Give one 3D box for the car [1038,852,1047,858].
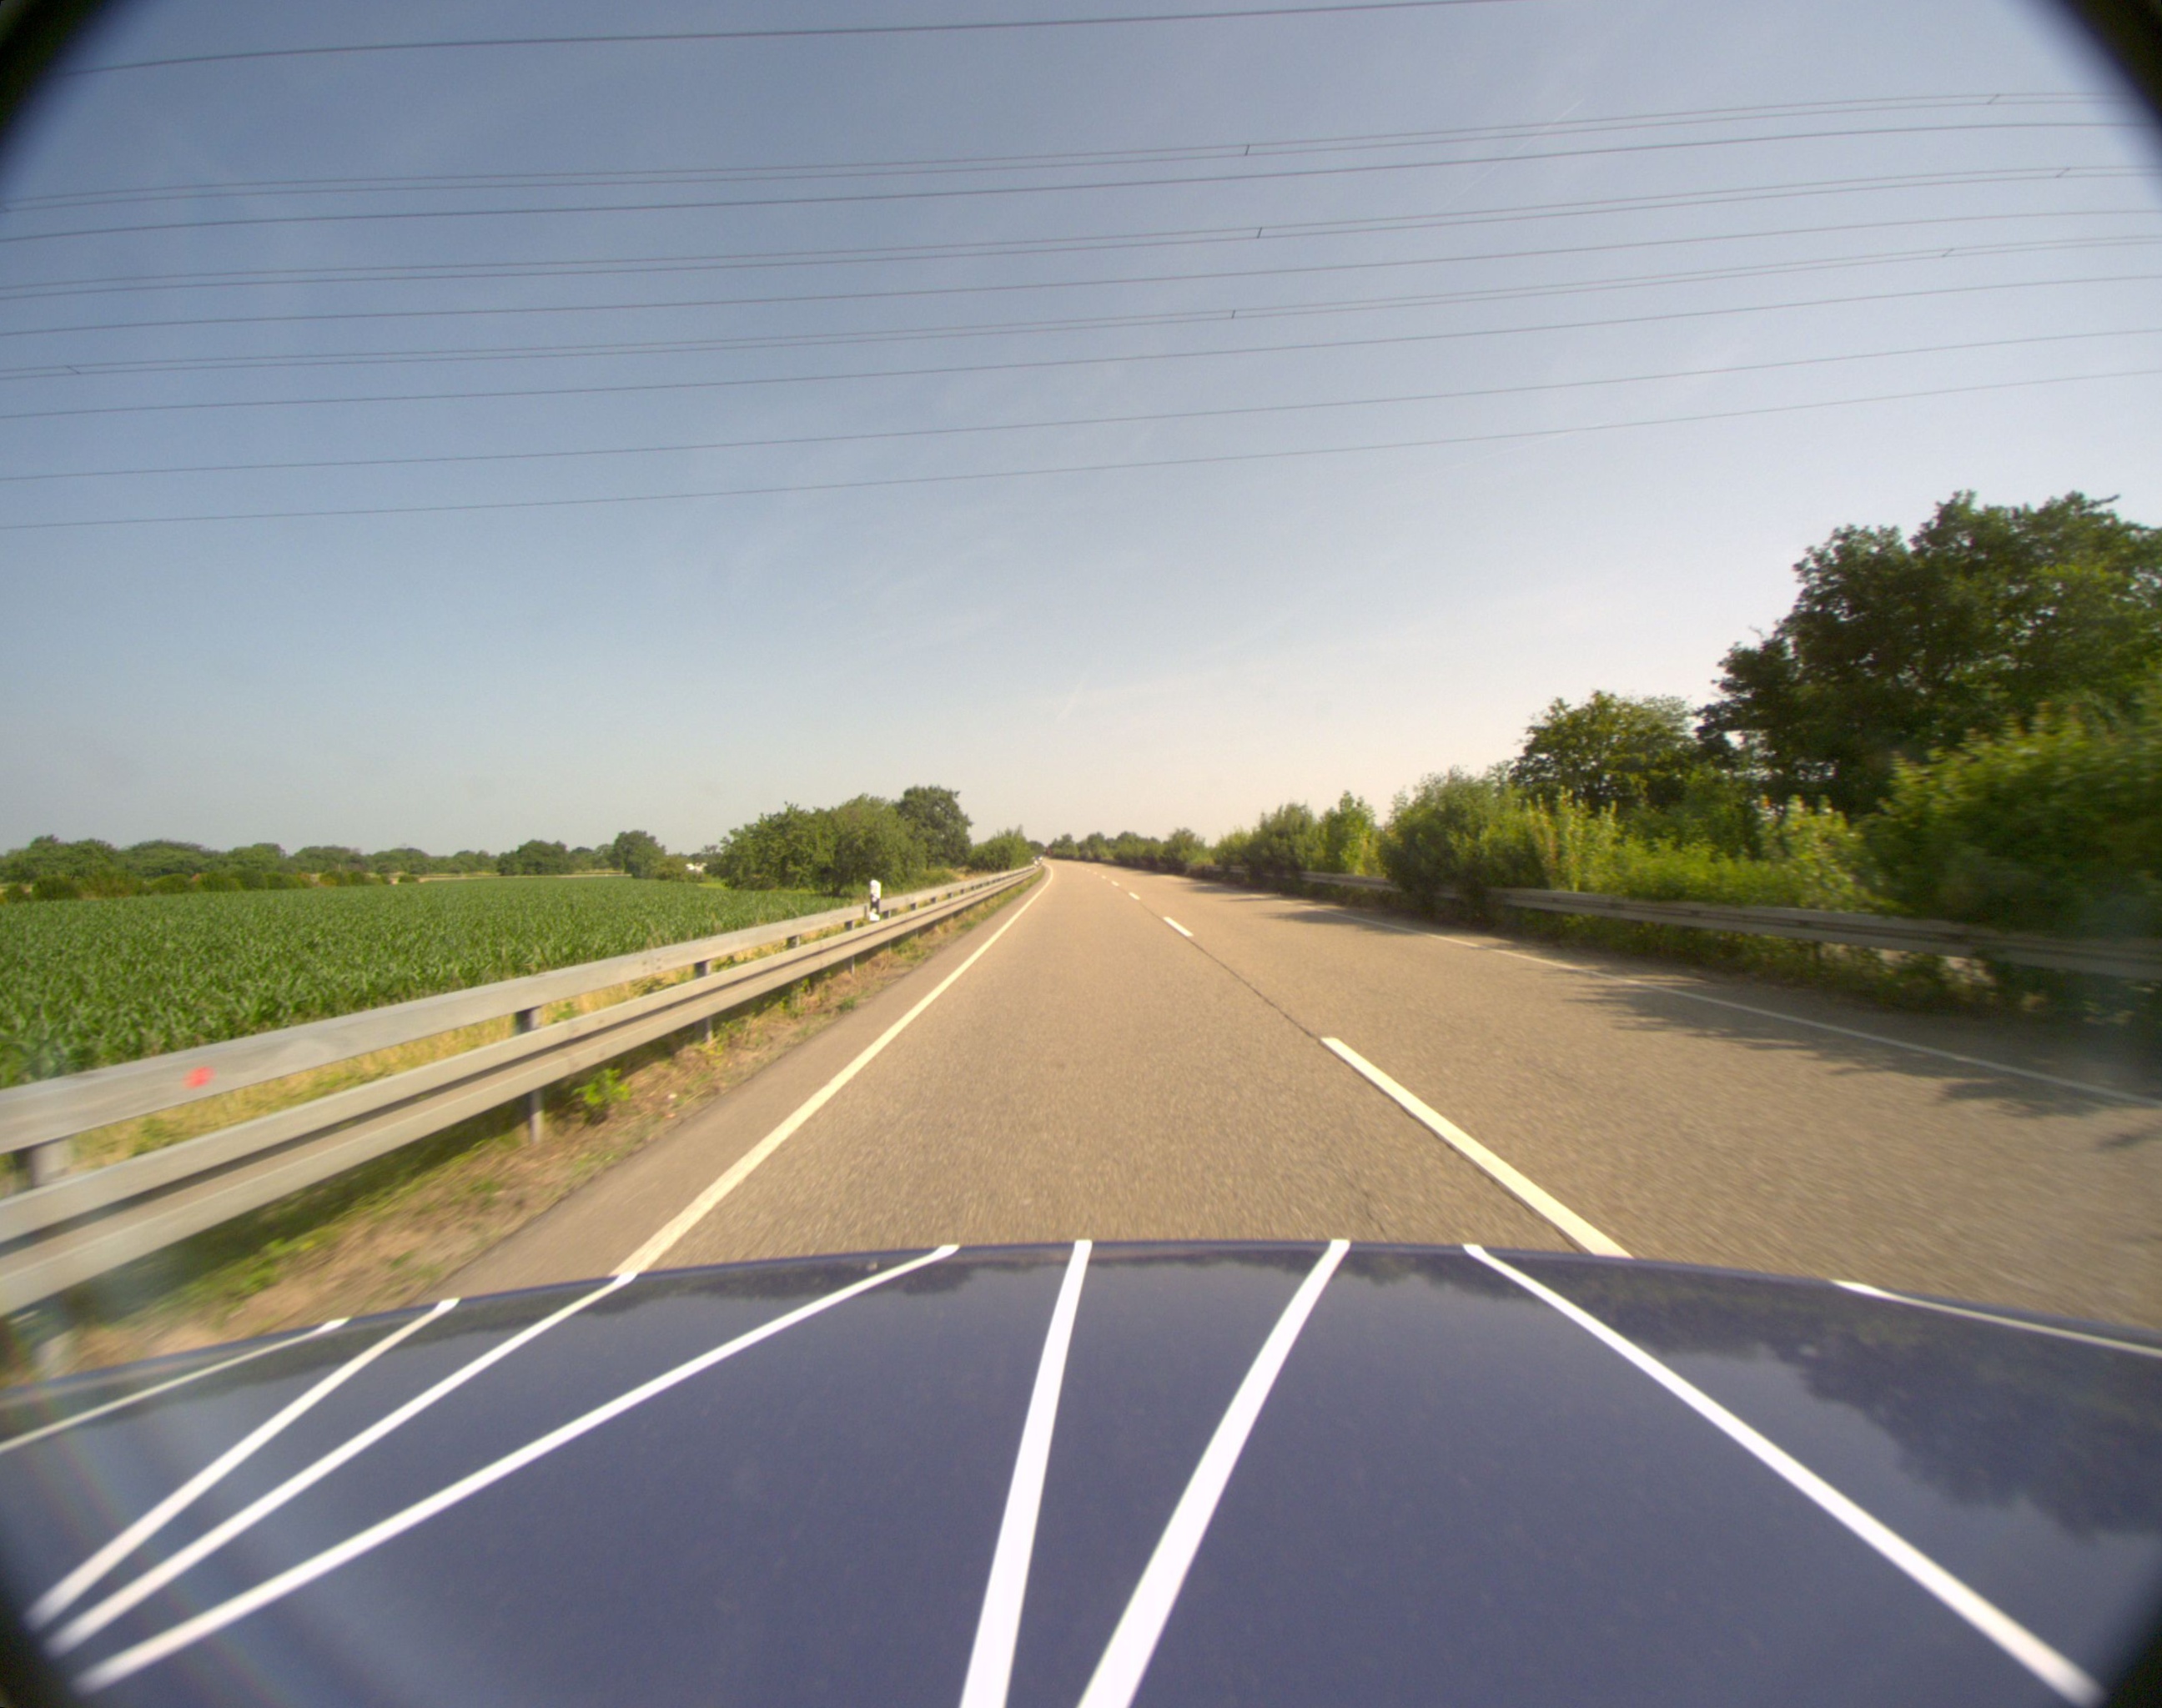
[{"bbox_3d":[-10.198,0.349,200.033,1.704,1.474,3.596,-3,0,-15],"label":"car"}]
